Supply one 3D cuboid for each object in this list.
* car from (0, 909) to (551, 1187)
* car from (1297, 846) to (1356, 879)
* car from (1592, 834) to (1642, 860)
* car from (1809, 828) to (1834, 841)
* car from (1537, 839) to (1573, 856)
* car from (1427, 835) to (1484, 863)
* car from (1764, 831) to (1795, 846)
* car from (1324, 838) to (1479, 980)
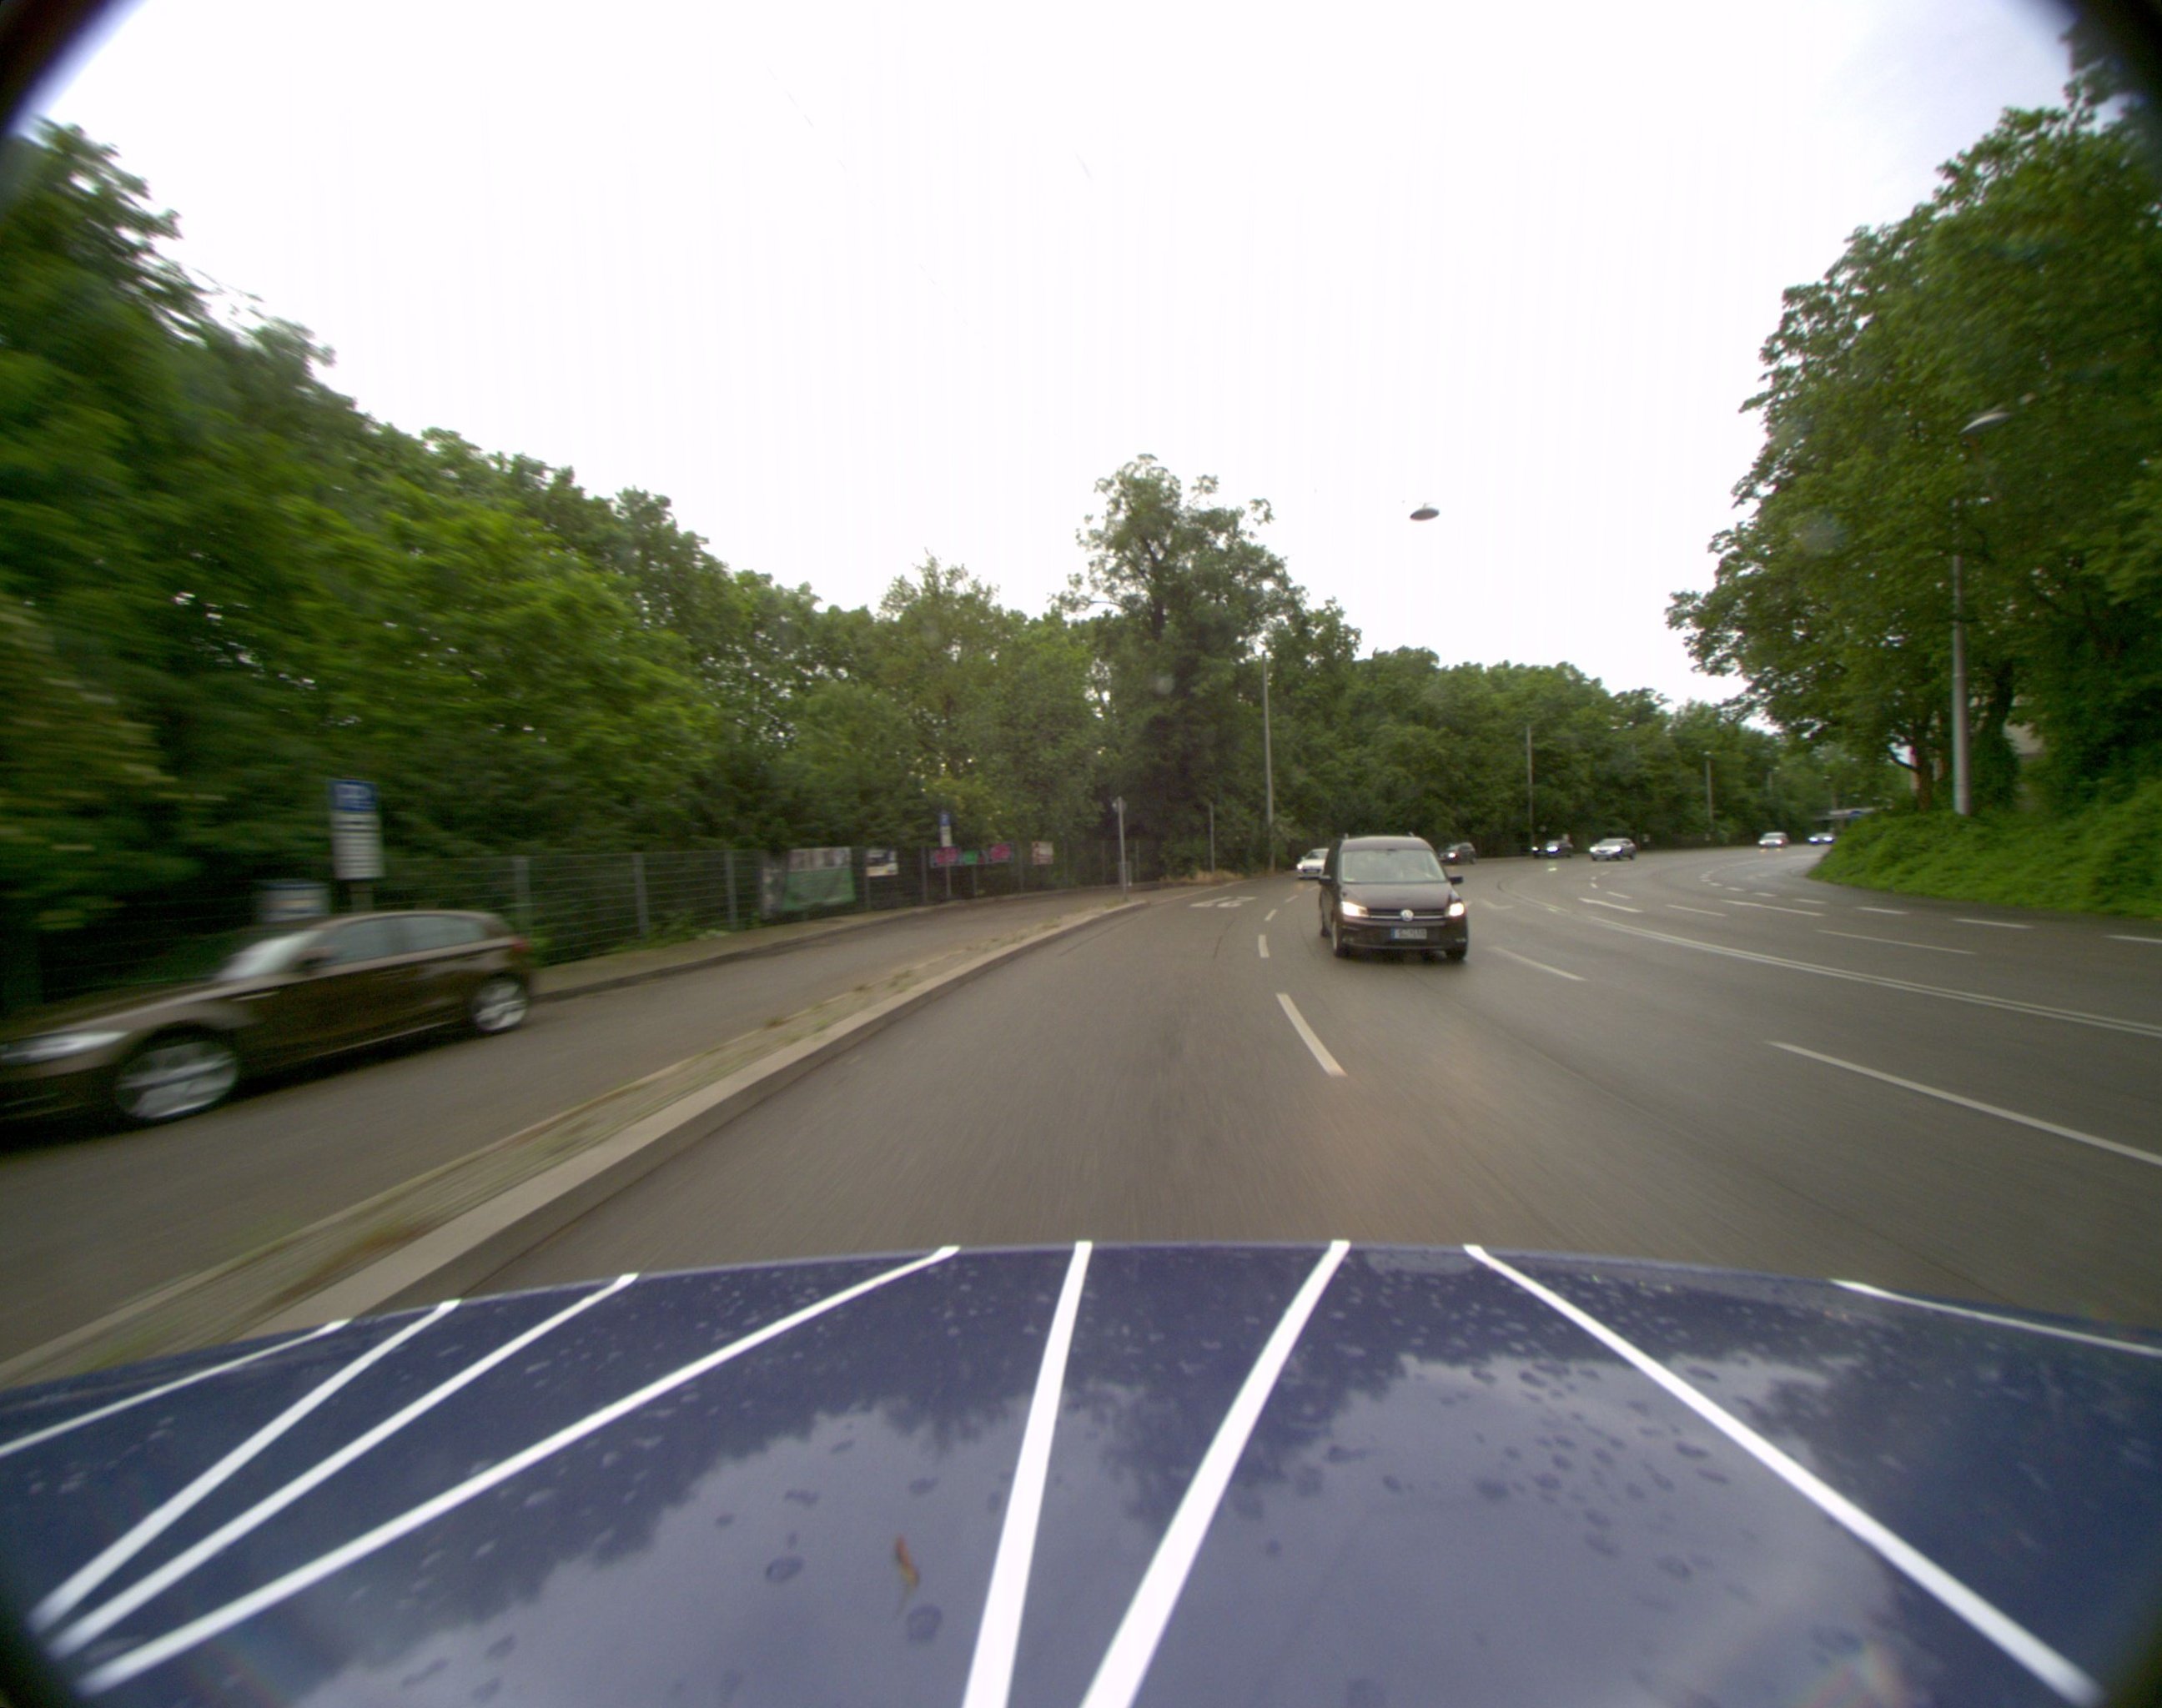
[{"bbox_3d":[-7.246,1.410,6.613,1.876,1.368,4.176,-6,0,7],"label":"car"},{"bbox_3d":[12.112,0.385,37.336,1.791,1.444,4.007,-1,1,33],"label":"car"},{"bbox_3d":[39.536,-0.524,56.020,4.663,1.735,1.994,-3,1,-42],"label":"car"},{"bbox_3d":[97.693,-2.556,100.167,3.908,1.512,1.921,-2,1,-39],"label":"car"},{"bbox_3d":[39.330,-0.555,63.032,3.112,1.325,1.578,-2,1,-38],"label":"car"},{"bbox_3d":[25.822,-0.363,52.358,4.007,1.735,1.995,-2,1,-39],"label":"car"},{"bbox_3d":[78.763,-1.763,85.682,3.908,1.512,1.922,-2,1,-37],"label":"car"},{"bbox_3d":[4.775,0.694,11.849,1.793,1.789,4.130,0,0,17],"label":"car"}]
